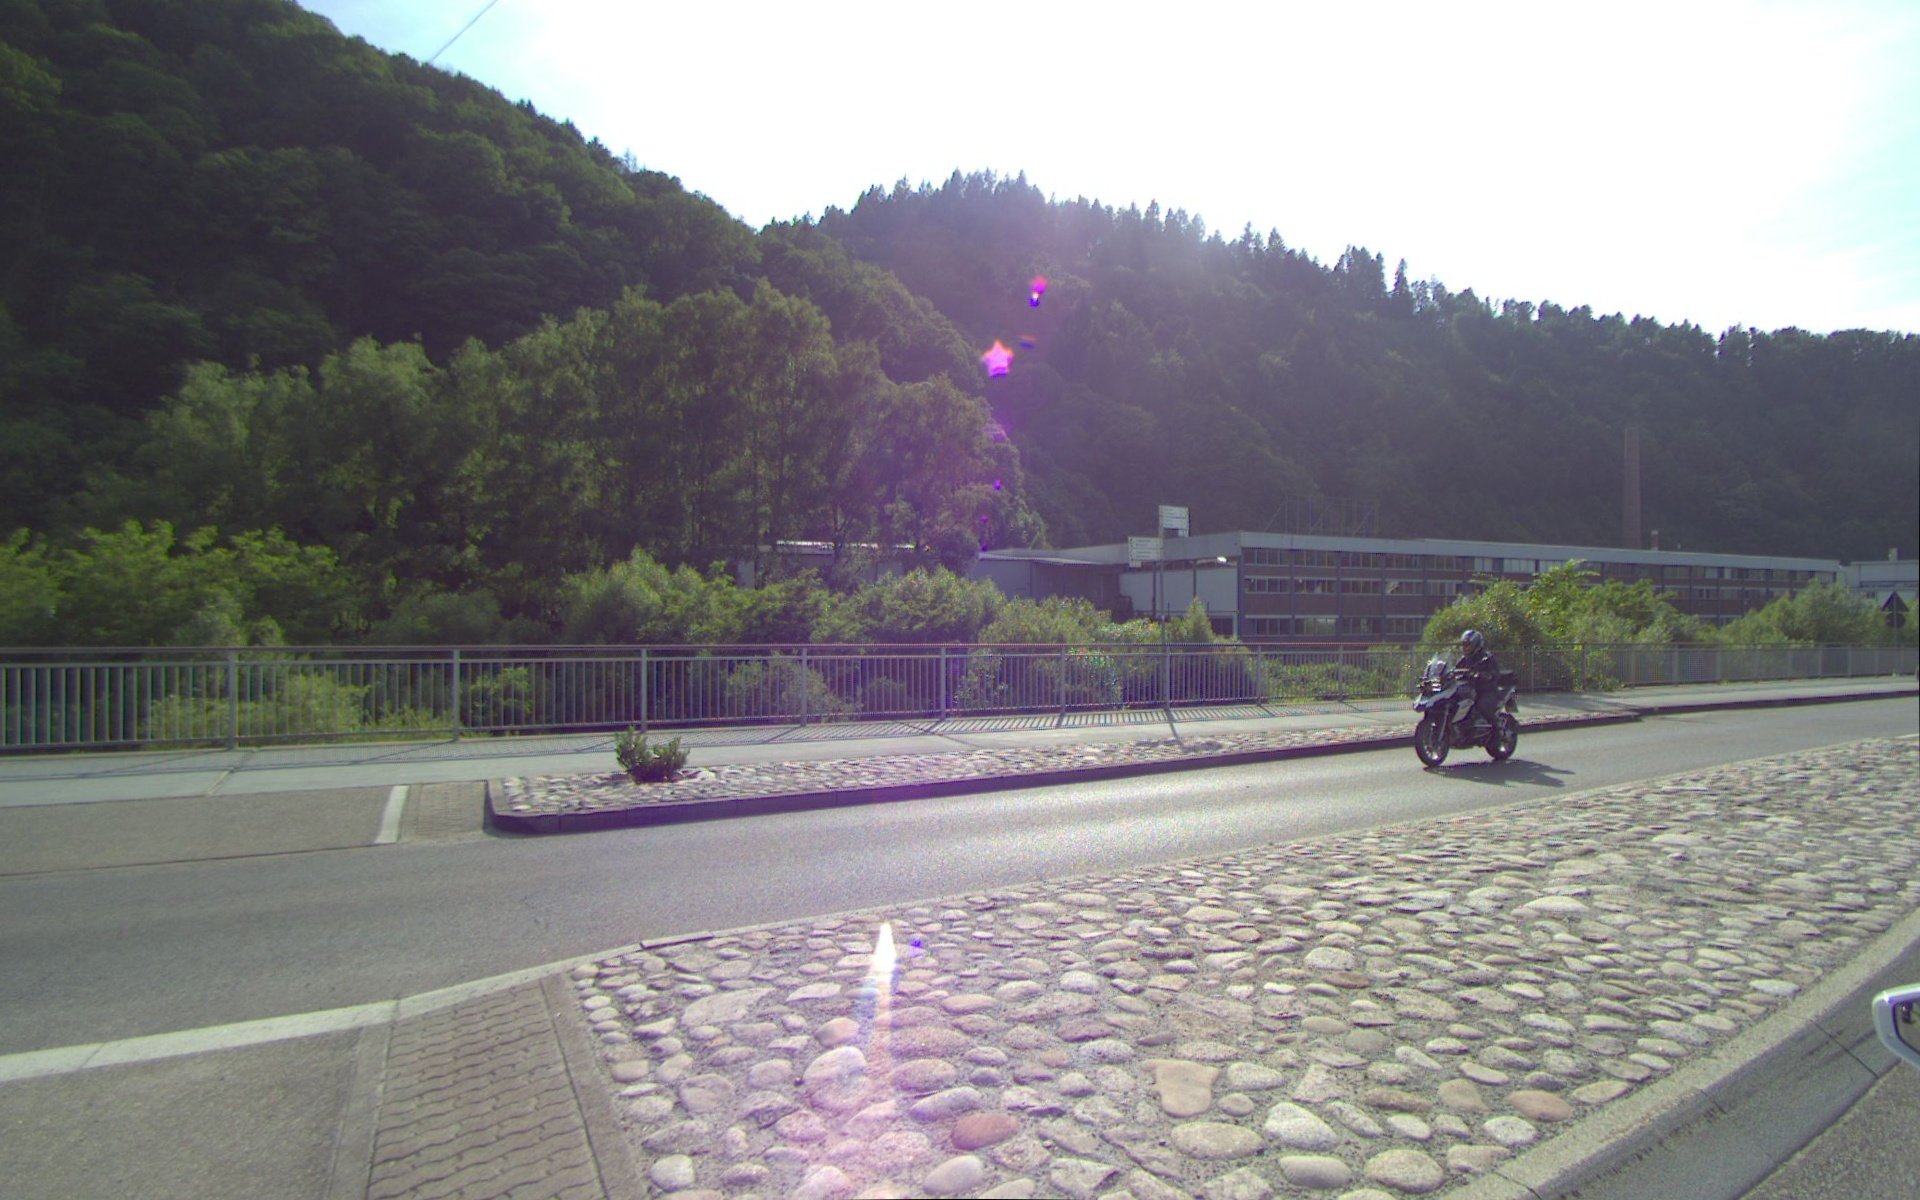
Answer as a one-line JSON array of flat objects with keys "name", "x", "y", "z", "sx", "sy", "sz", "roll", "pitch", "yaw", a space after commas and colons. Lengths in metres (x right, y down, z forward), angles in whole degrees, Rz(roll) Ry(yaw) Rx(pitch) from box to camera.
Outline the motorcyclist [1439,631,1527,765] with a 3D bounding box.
[{"name": "motorcyclist", "x": 6.926, "y": 1.277, "z": 13.317, "sx": 0.717, "sy": 1.700, "sz": 0.760, "roll": 2, "pitch": -2, "yaw": -26}]

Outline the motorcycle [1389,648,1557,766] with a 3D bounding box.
[{"name": "motorcycle", "x": 6.770, "y": 1.370, "z": 13.231, "sx": 2.288, "sy": 1.441, "sz": 0.770, "roll": 2, "pitch": -2, "yaw": -27}]
